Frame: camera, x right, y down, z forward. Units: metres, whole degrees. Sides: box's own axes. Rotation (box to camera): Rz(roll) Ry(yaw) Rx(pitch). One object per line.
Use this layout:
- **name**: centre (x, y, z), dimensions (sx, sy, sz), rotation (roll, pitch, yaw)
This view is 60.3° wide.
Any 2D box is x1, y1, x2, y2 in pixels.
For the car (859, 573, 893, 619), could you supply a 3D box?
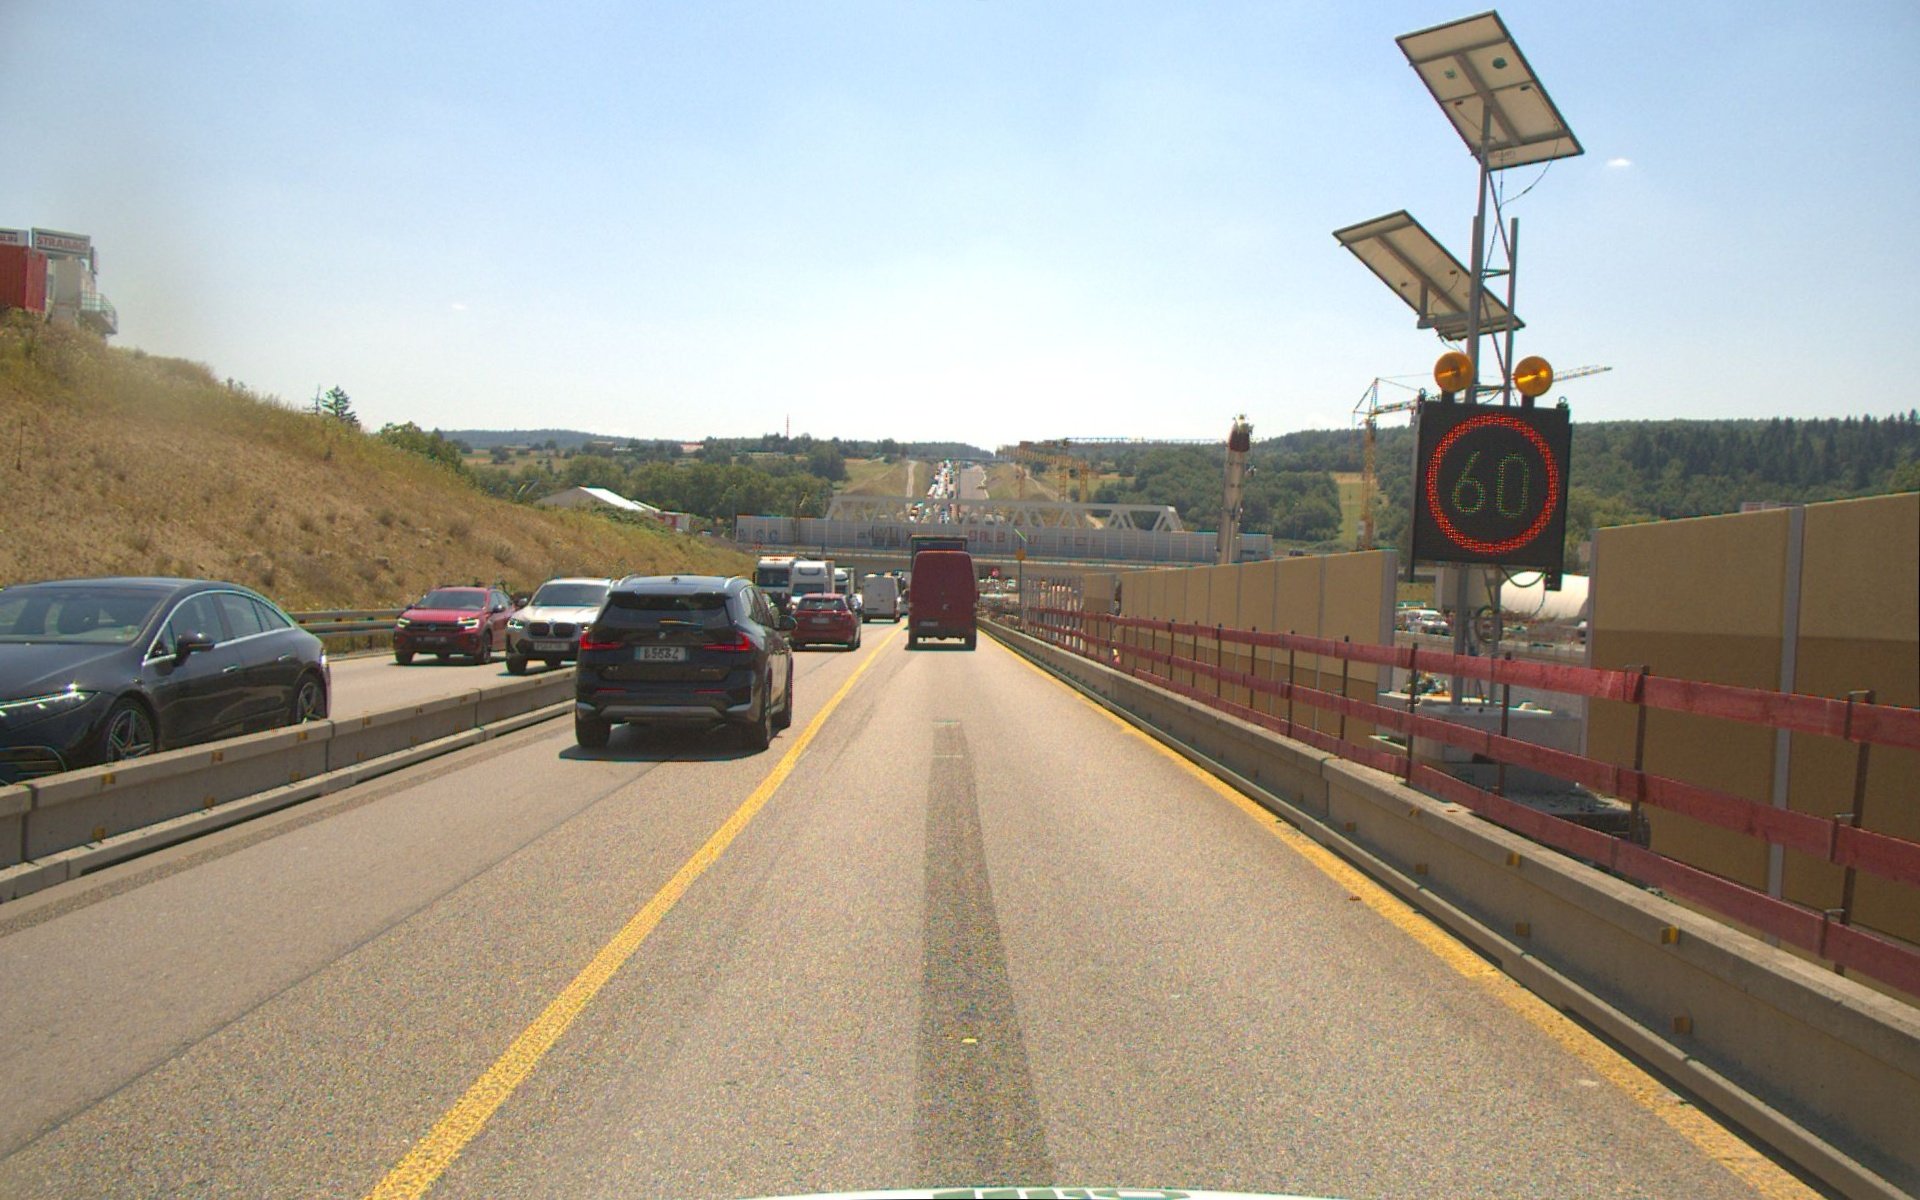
- **car**: centre (-4.633, -0.239, 91.937), dimensions (1.740, 2.484, 4.205), rotation (0, 0, -1)

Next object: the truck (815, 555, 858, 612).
- **truck**: centre (-8.497, -1.127, 114.828), dimensions (2.537, 3.824, 7.356), rotation (1, 0, -1)

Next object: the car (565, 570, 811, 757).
- **car**: centre (-2.620, 0.557, 16.938), dimensions (1.841, 1.646, 4.498), rotation (0, 0, -1)

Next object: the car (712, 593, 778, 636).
- **car**: centre (-7.513, 0.480, 58.135), dimensions (1.760, 1.452, 4.948), rotation (1, 0, -1)

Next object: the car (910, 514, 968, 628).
- **car**: centre (-1.049, -1.317, 79.515), dimensions (2.568, 5.120, 10.394), rotation (0, 0, -1)

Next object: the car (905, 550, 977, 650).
- **car**: centre (-0.566, -0.009, 47.483), dimensions (1.948, 2.737, 4.622), rotation (0, 0, -1)

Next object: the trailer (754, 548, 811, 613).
- **trailer**: centre (-12.019, -1.258, 113.005), dimensions (2.643, 4.095, 13.698), rotation (1, 0, -1)

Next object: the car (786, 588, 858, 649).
- **car**: centre (-3.644, 0.466, 44.164), dimensions (1.740, 1.544, 4.204), rotation (0, 0, -3)

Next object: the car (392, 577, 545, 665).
- **car**: centre (-9.896, 0.387, 33.694), dimensions (1.650, 1.613, 5.125), rotation (1, 0, -1)

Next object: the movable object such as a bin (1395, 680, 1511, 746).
- **movable object such as a bin**: centre (23.777, 5.412, 80.224), dimensions (3.099, 2.488, 7.894), rotation (3, 0, 0)

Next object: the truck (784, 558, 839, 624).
- **truck**: centre (-8.178, -0.506, 91.455), dimensions (2.487, 3.433, 7.036), rotation (1, 0, -1)

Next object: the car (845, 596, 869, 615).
- **car**: centre (-8.130, 0.434, 131.164), dimensions (1.743, 1.483, 4.718), rotation (1, 0, -2)

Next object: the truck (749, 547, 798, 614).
- **truck**: centre (-11.863, -1.232, 105.401), dimensions (2.643, 4.120, 3.954), rotation (1, 0, -2)

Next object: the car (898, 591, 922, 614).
- **car**: centre (-3.805, 0.208, 125.992), dimensions (1.740, 1.699, 4.027), rotation (0, 0, -1)

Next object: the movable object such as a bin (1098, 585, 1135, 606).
- **movable object such as a bin**: centre (22.118, -0.612, 233.878), dimensions (5.038, 2.856, 2.144), rotation (1, 0, 5)

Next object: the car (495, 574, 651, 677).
- **car**: centre (-6.954, 0.416, 30.199), dimensions (1.807, 1.694, 4.687), rotation (1, 0, -1)

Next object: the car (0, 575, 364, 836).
- **car**: centre (-6.276, 0.598, 12.278), dimensions (1.915, 1.525, 5.089), rotation (1, 0, -1)

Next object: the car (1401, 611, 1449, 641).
- **car**: centre (32.992, 1.830, 117.363), dimensions (1.770, 2.049, 4.822), rotation (1, 0, -4)

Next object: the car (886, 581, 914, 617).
- **car**: centre (-4.037, -0.087, 111.683), dimensions (1.740, 2.370, 4.205), rotation (0, 0, -1)

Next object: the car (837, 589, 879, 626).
- **car**: centre (-4.697, 0.316, 76.521), dimensions (1.802, 1.683, 4.163), rotation (0, 0, -2)
